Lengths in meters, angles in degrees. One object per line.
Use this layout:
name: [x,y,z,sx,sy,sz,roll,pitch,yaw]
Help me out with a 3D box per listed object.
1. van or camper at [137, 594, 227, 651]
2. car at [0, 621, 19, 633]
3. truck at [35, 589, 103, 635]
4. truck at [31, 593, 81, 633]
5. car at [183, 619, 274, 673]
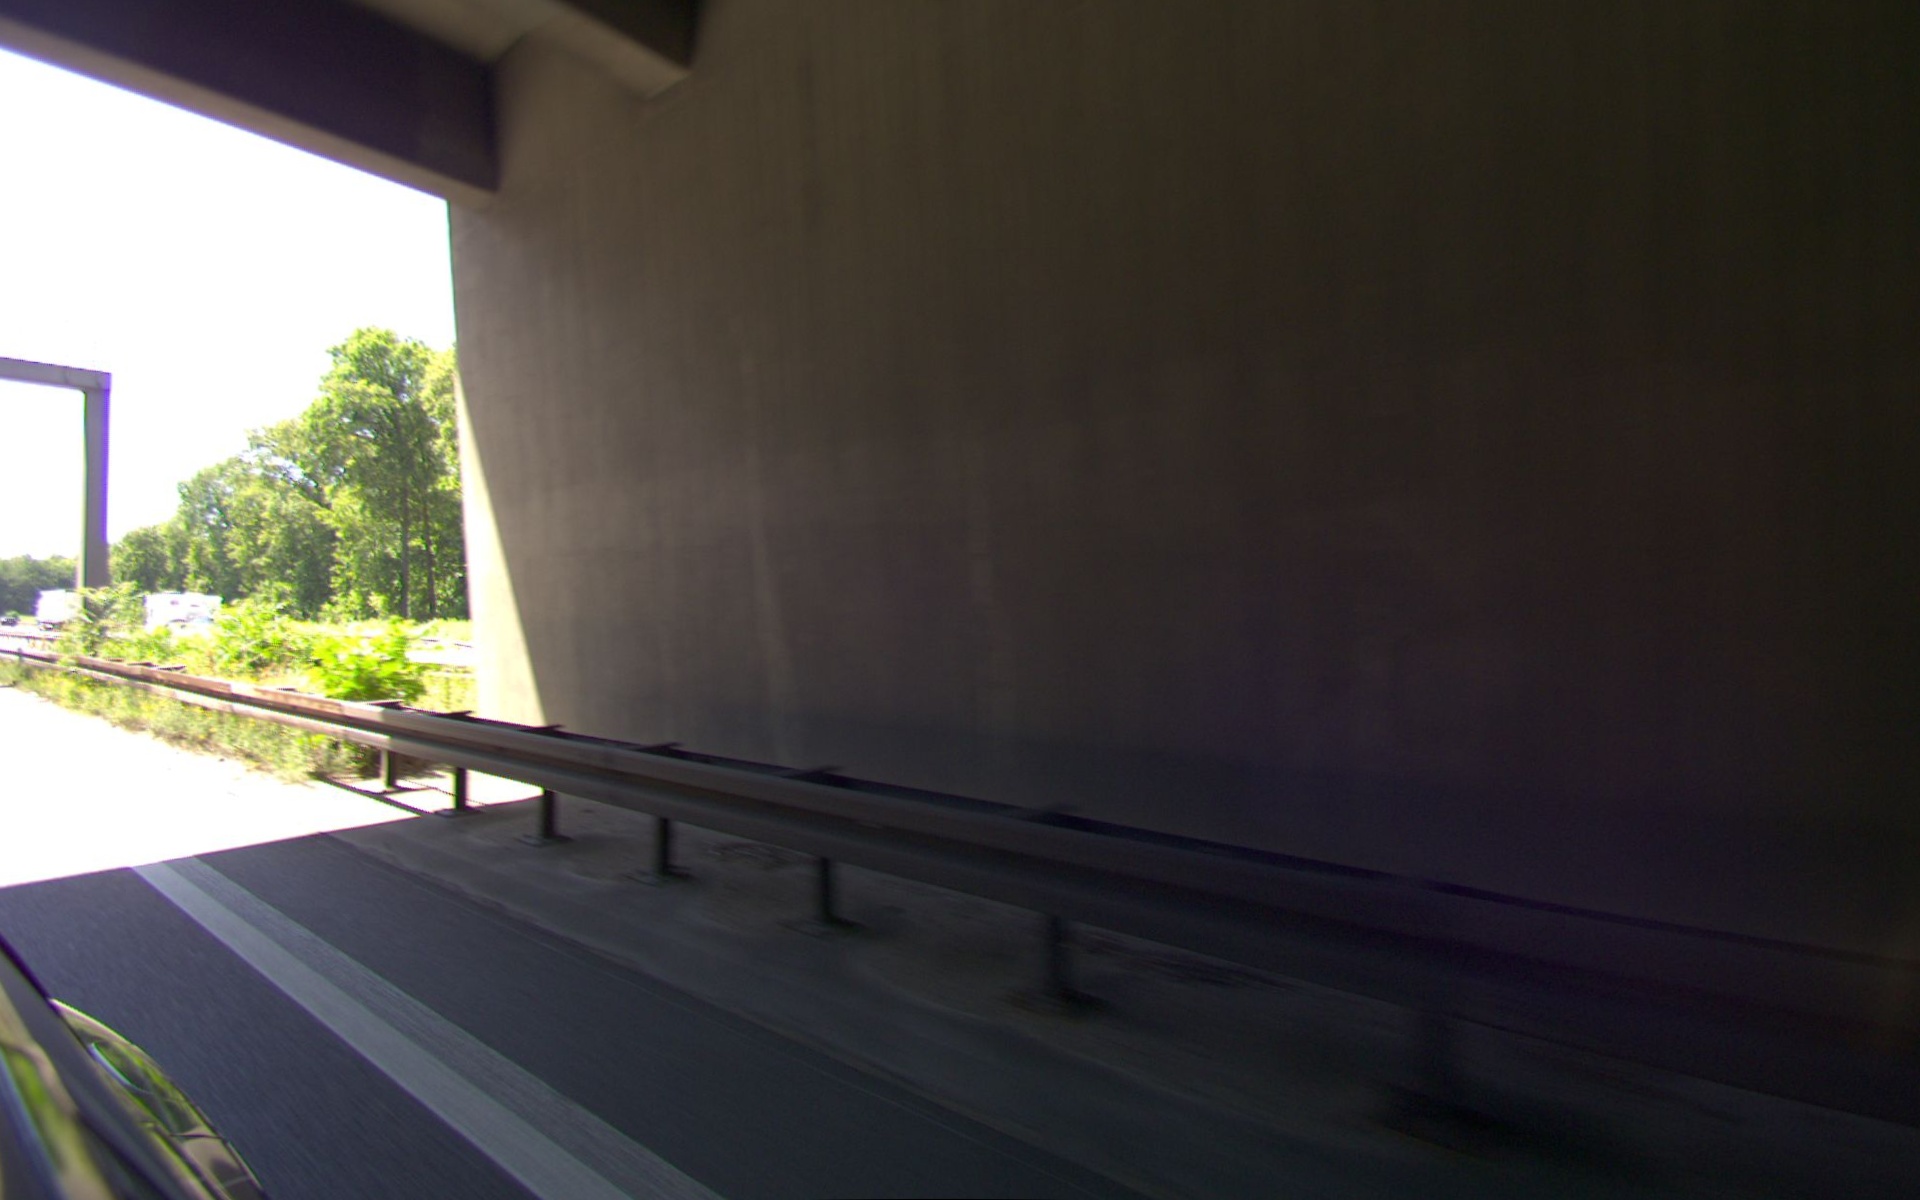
van or camper: [-42.290,1.174,54.931,7.231,2.928,2.565,-1,0,41]
car: [-128.724,3.666,136.877,4.010,1.547,1.804,-1,-2,43]
truck: [-90.299,1.230,102.446,13.952,4.284,3.034,-1,-4,41]
truck: [-95.456,1.394,106.850,6.456,4.093,2.938,-1,-4,41]
car: [-27.284,1.651,37.701,4.710,1.829,1.673,-1,0,40]
